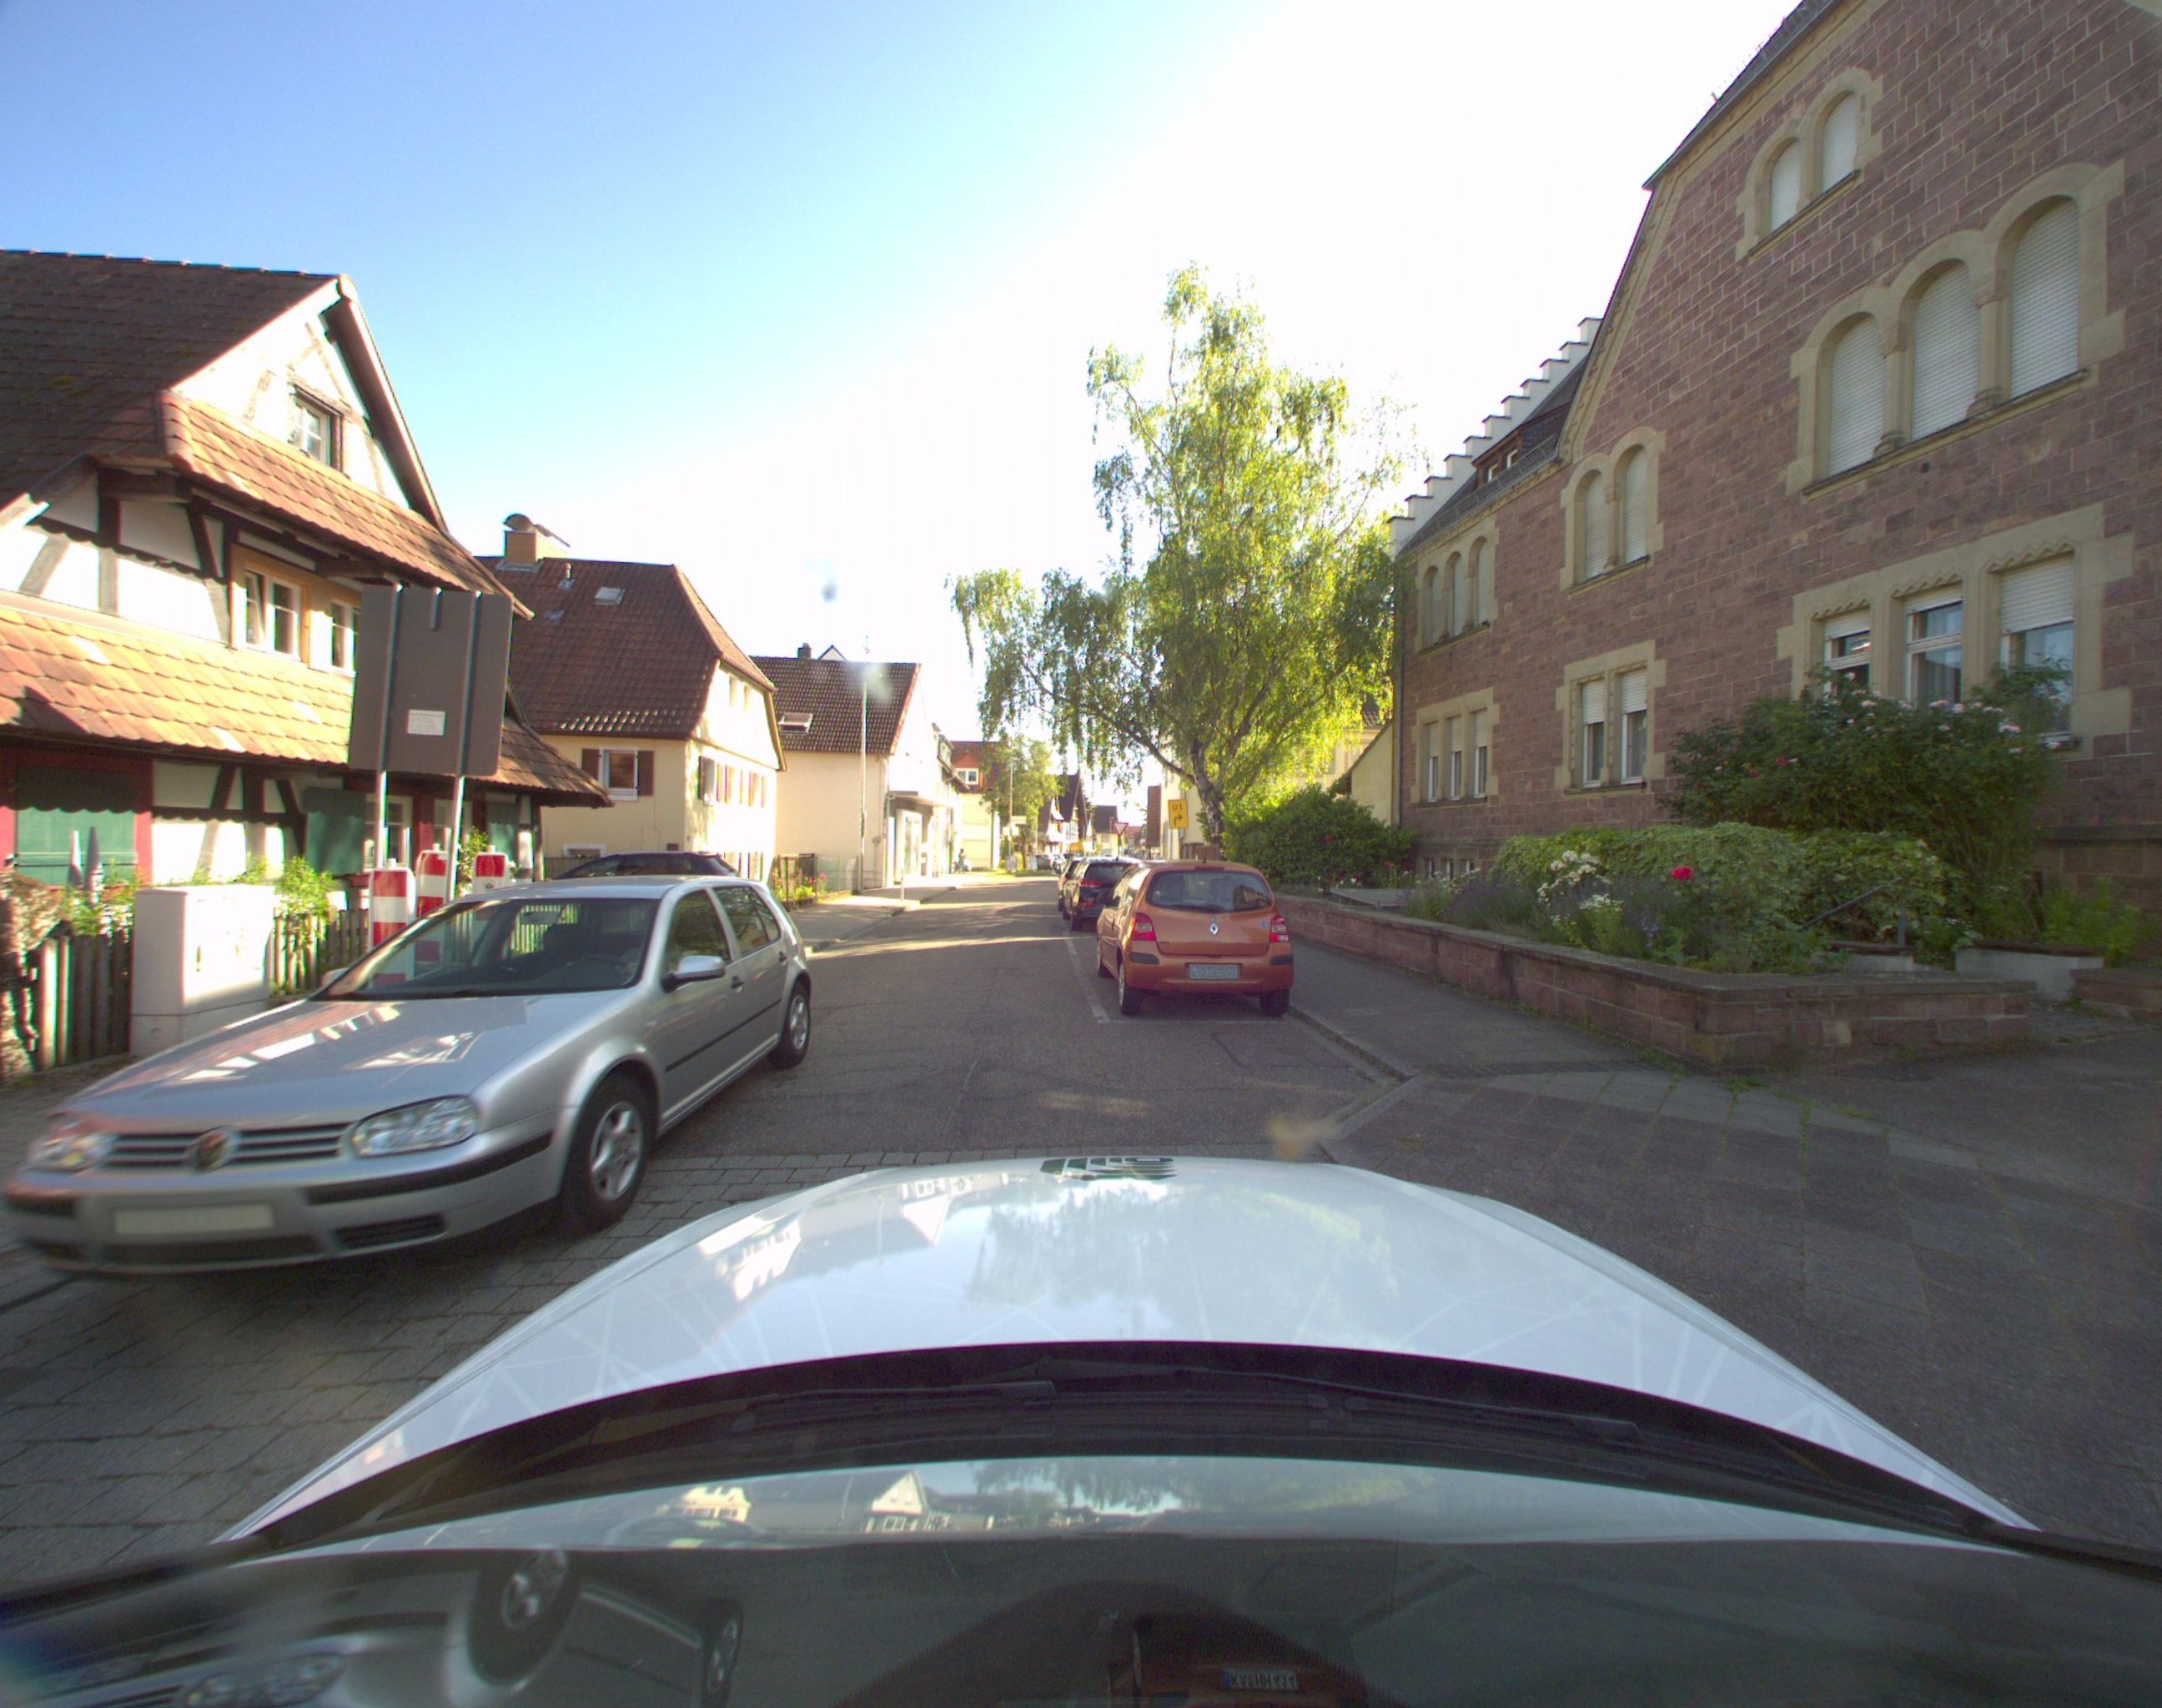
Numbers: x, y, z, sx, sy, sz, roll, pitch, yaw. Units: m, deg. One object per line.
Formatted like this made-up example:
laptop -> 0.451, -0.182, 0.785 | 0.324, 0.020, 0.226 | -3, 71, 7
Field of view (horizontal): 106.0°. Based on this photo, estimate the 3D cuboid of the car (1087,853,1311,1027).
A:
car -> 1.066, 0.765, 9.133 | 1.645, 1.478, 3.927 | 1, 1, -4

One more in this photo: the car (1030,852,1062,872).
car -> -2.763, 0.655, 65.336 | 1.857, 1.506, 4.116 | 1, -1, 8

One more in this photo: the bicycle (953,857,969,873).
bicycle -> -8.346, 0.760, 56.662 | 0.575, 1.052, 2.039 | 0, -1, 6

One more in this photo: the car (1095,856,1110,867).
car -> 2.585, 0.898, 97.567 | 1.580, 1.336, 3.620 | 1, 0, 5

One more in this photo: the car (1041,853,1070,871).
car -> -2.157, 0.674, 69.696 | 1.796, 1.506, 4.116 | 1, -1, 8

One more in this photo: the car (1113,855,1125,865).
car -> 5.546, 0.859, 117.979 | 1.580, 1.443, 3.620 | 1, 0, 5

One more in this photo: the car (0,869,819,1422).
car -> -2.754, 0.831, 4.173 | 1.666, 1.402, 3.889 | 0, 0, -2

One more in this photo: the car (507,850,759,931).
car -> -9.153, 0.708, 16.981 | 4.155, 1.462, 1.844 | -1, 1, -8

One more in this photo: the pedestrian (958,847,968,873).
pedestrian -> -7.737, 0.387, 53.426 | 0.481, 1.693, 0.557 | 1, -2, 3

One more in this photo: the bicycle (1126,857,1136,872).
bicycle -> 4.114, 0.840, 66.535 | 0.430, 1.176, 1.836 | 1, 0, 15

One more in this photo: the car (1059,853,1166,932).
car -> 0.548, 0.728, 17.565 | 1.804, 1.436, 4.279 | 1, 1, -4

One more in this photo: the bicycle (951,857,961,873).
bicycle -> -8.160, 0.728, 53.251 | 0.422, 1.052, 1.381 | 1, -1, 0

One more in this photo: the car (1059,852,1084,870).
car -> -0.906, 0.705, 78.563 | 1.796, 1.622, 3.889 | 1, -1, 8

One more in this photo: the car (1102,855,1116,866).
car -> 3.706, 0.856, 106.155 | 1.580, 1.443, 3.620 | 1, 0, 5

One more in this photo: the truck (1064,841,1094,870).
truck -> -0.164, 0.158, 84.157 | 2.255, 2.868, 5.795 | 1, -1, 8

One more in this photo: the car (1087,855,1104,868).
car -> 1.637, 0.850, 92.999 | 1.637, 1.433, 3.620 | 1, 0, 5

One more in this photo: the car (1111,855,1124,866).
car -> 5.119, 0.887, 113.341 | 1.580, 1.443, 3.620 | 1, 0, 5

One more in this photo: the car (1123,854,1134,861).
car -> 11.590, 0.924, 198.727 | 1.971, 1.583, 3.986 | 1, 0, -6

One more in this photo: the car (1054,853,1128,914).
car -> 0.229, 0.717, 22.281 | 1.802, 1.436, 4.284 | 1, 1, -1
